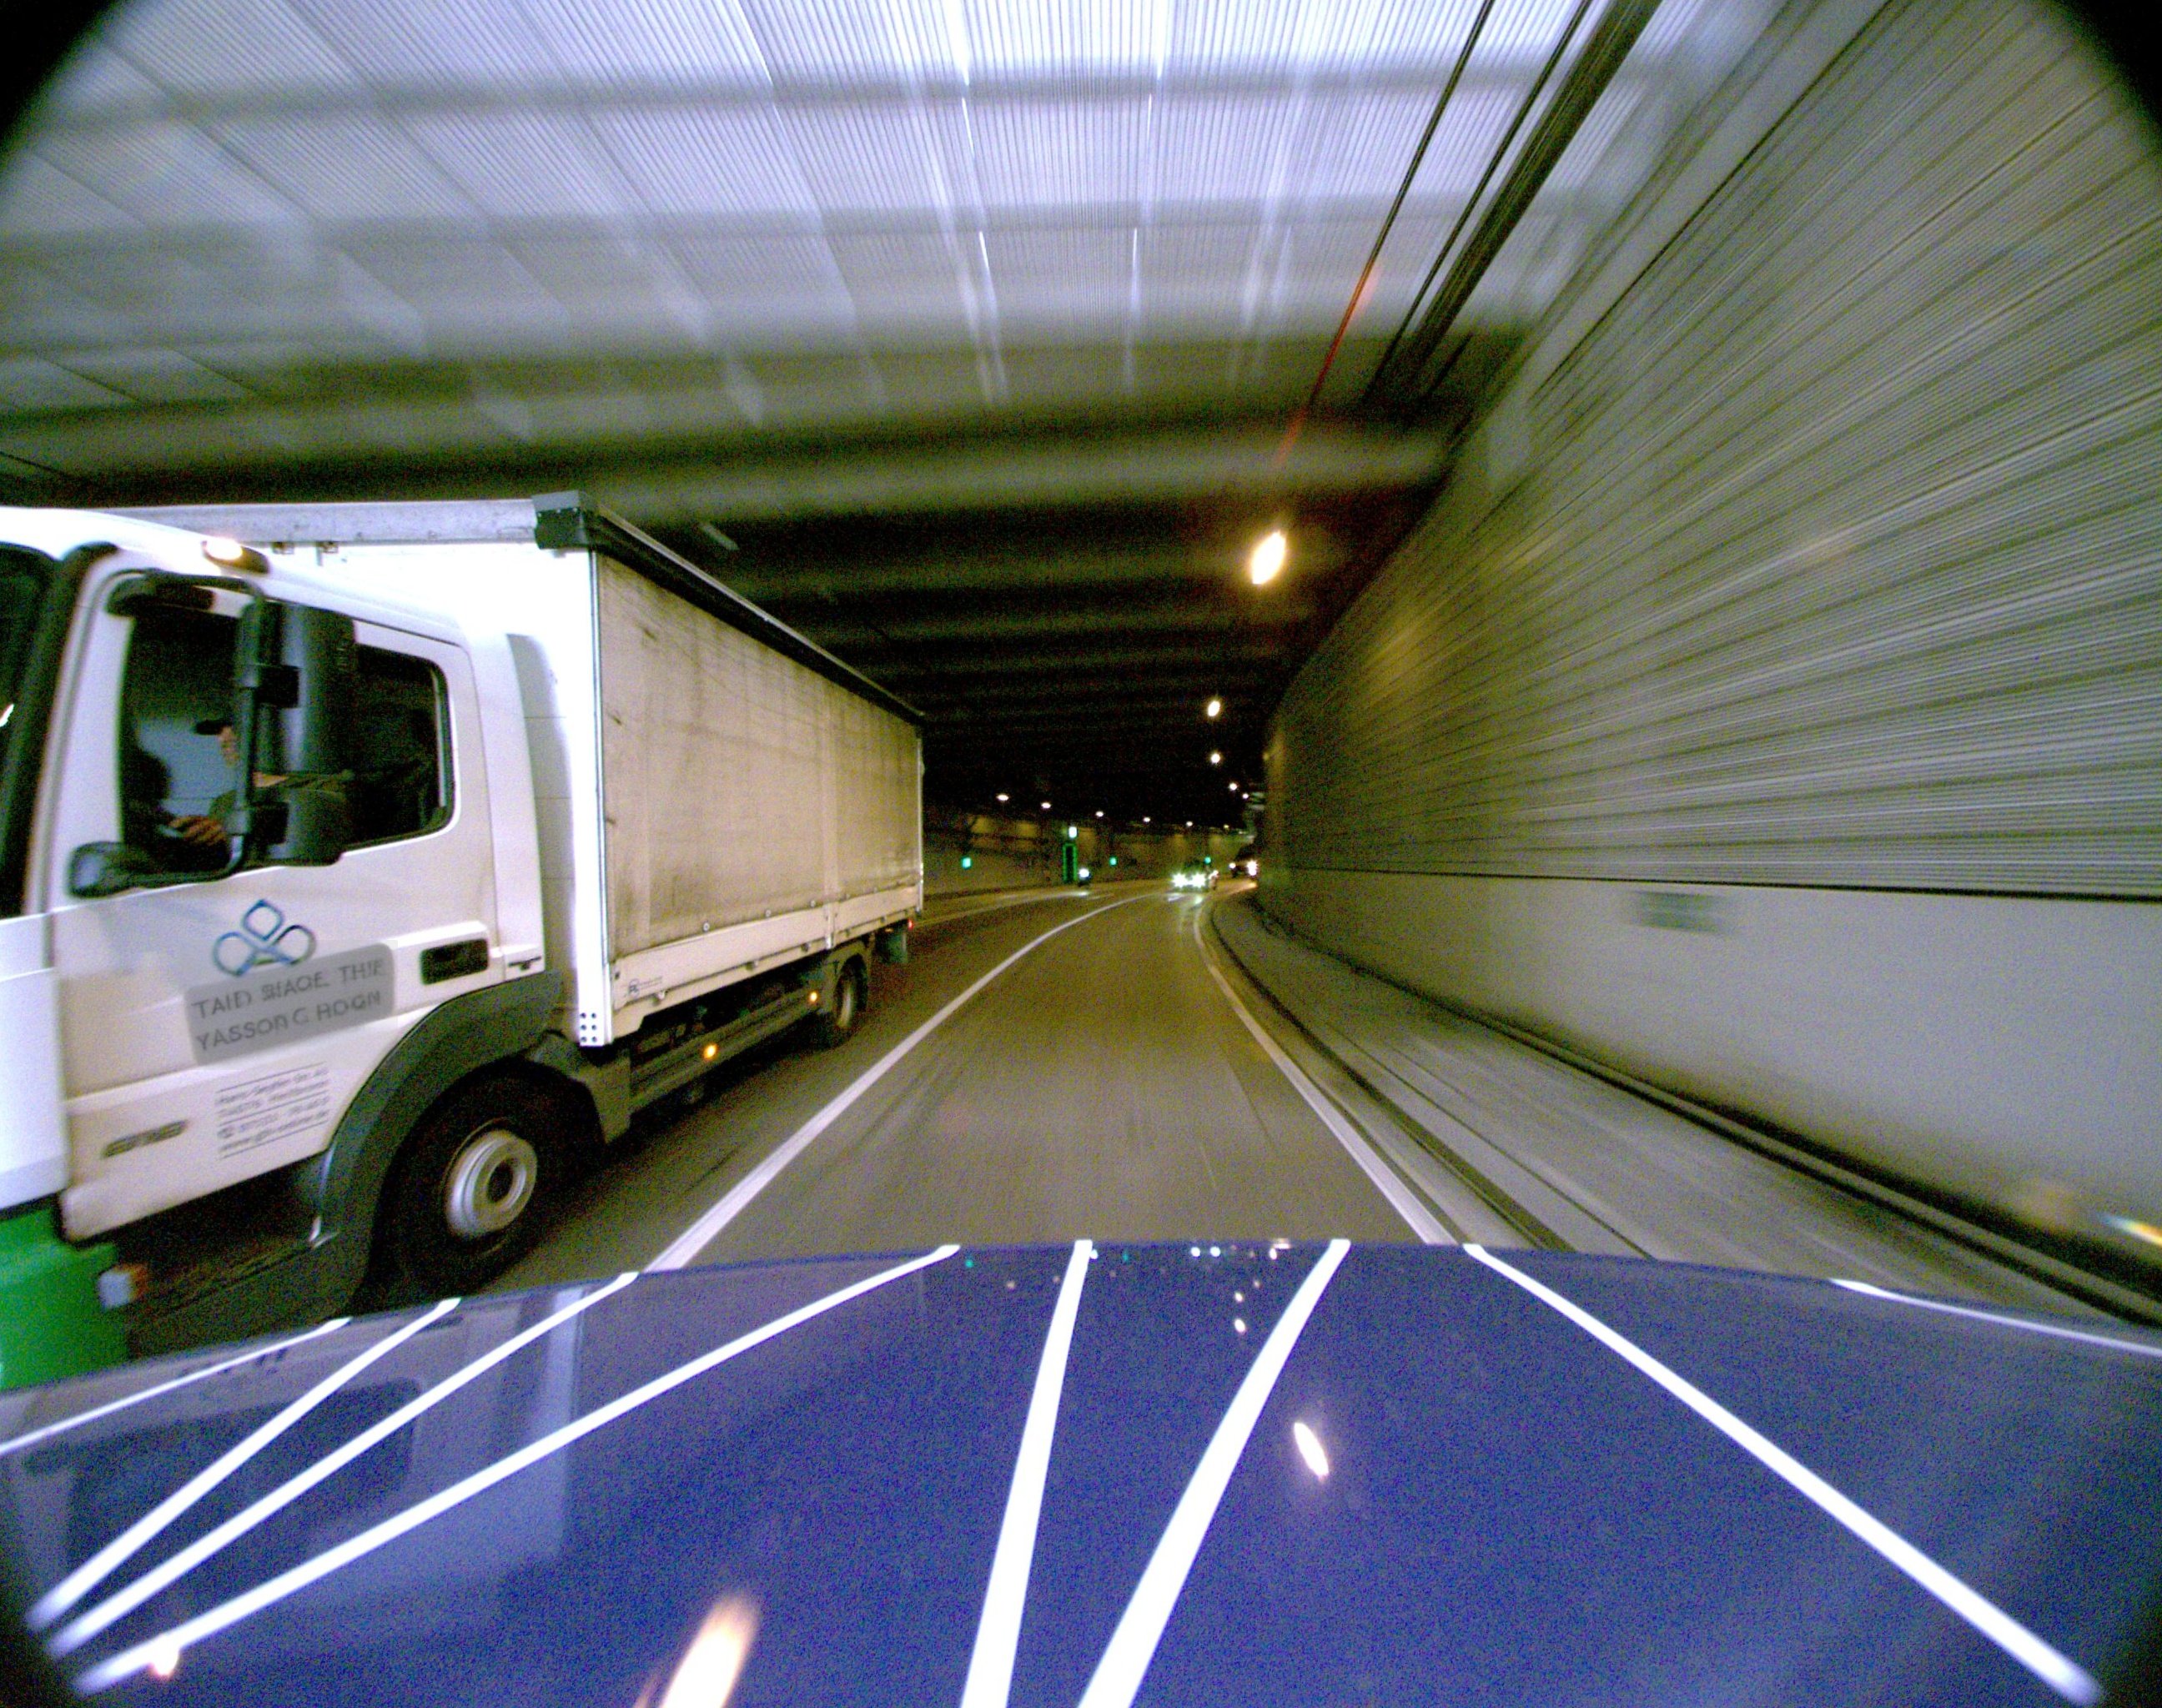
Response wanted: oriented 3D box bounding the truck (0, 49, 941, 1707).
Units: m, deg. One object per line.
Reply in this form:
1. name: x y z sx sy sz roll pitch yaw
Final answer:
1. truck: -3.144 0.126 4.937 2.636 3.220 7.417 -2 0 3

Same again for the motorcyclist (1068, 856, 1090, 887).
1. motorcyclist: -0.107 0.889 38.414 0.745 1.482 0.788 -3 0 23

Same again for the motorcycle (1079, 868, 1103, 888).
1. motorcycle: 0.563 1.250 40.412 0.549 0.970 1.838 -3 0 24

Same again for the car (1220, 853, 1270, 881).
1. car: 11.960 0.885 55.132 2.370 1.914 5.208 -1 0 27

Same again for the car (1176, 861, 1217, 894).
1. car: 5.732 1.100 37.405 1.720 1.455 4.004 -2 0 12

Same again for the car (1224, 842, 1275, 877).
1. car: 14.228 0.429 63.653 2.555 2.752 7.363 -2 0 26
